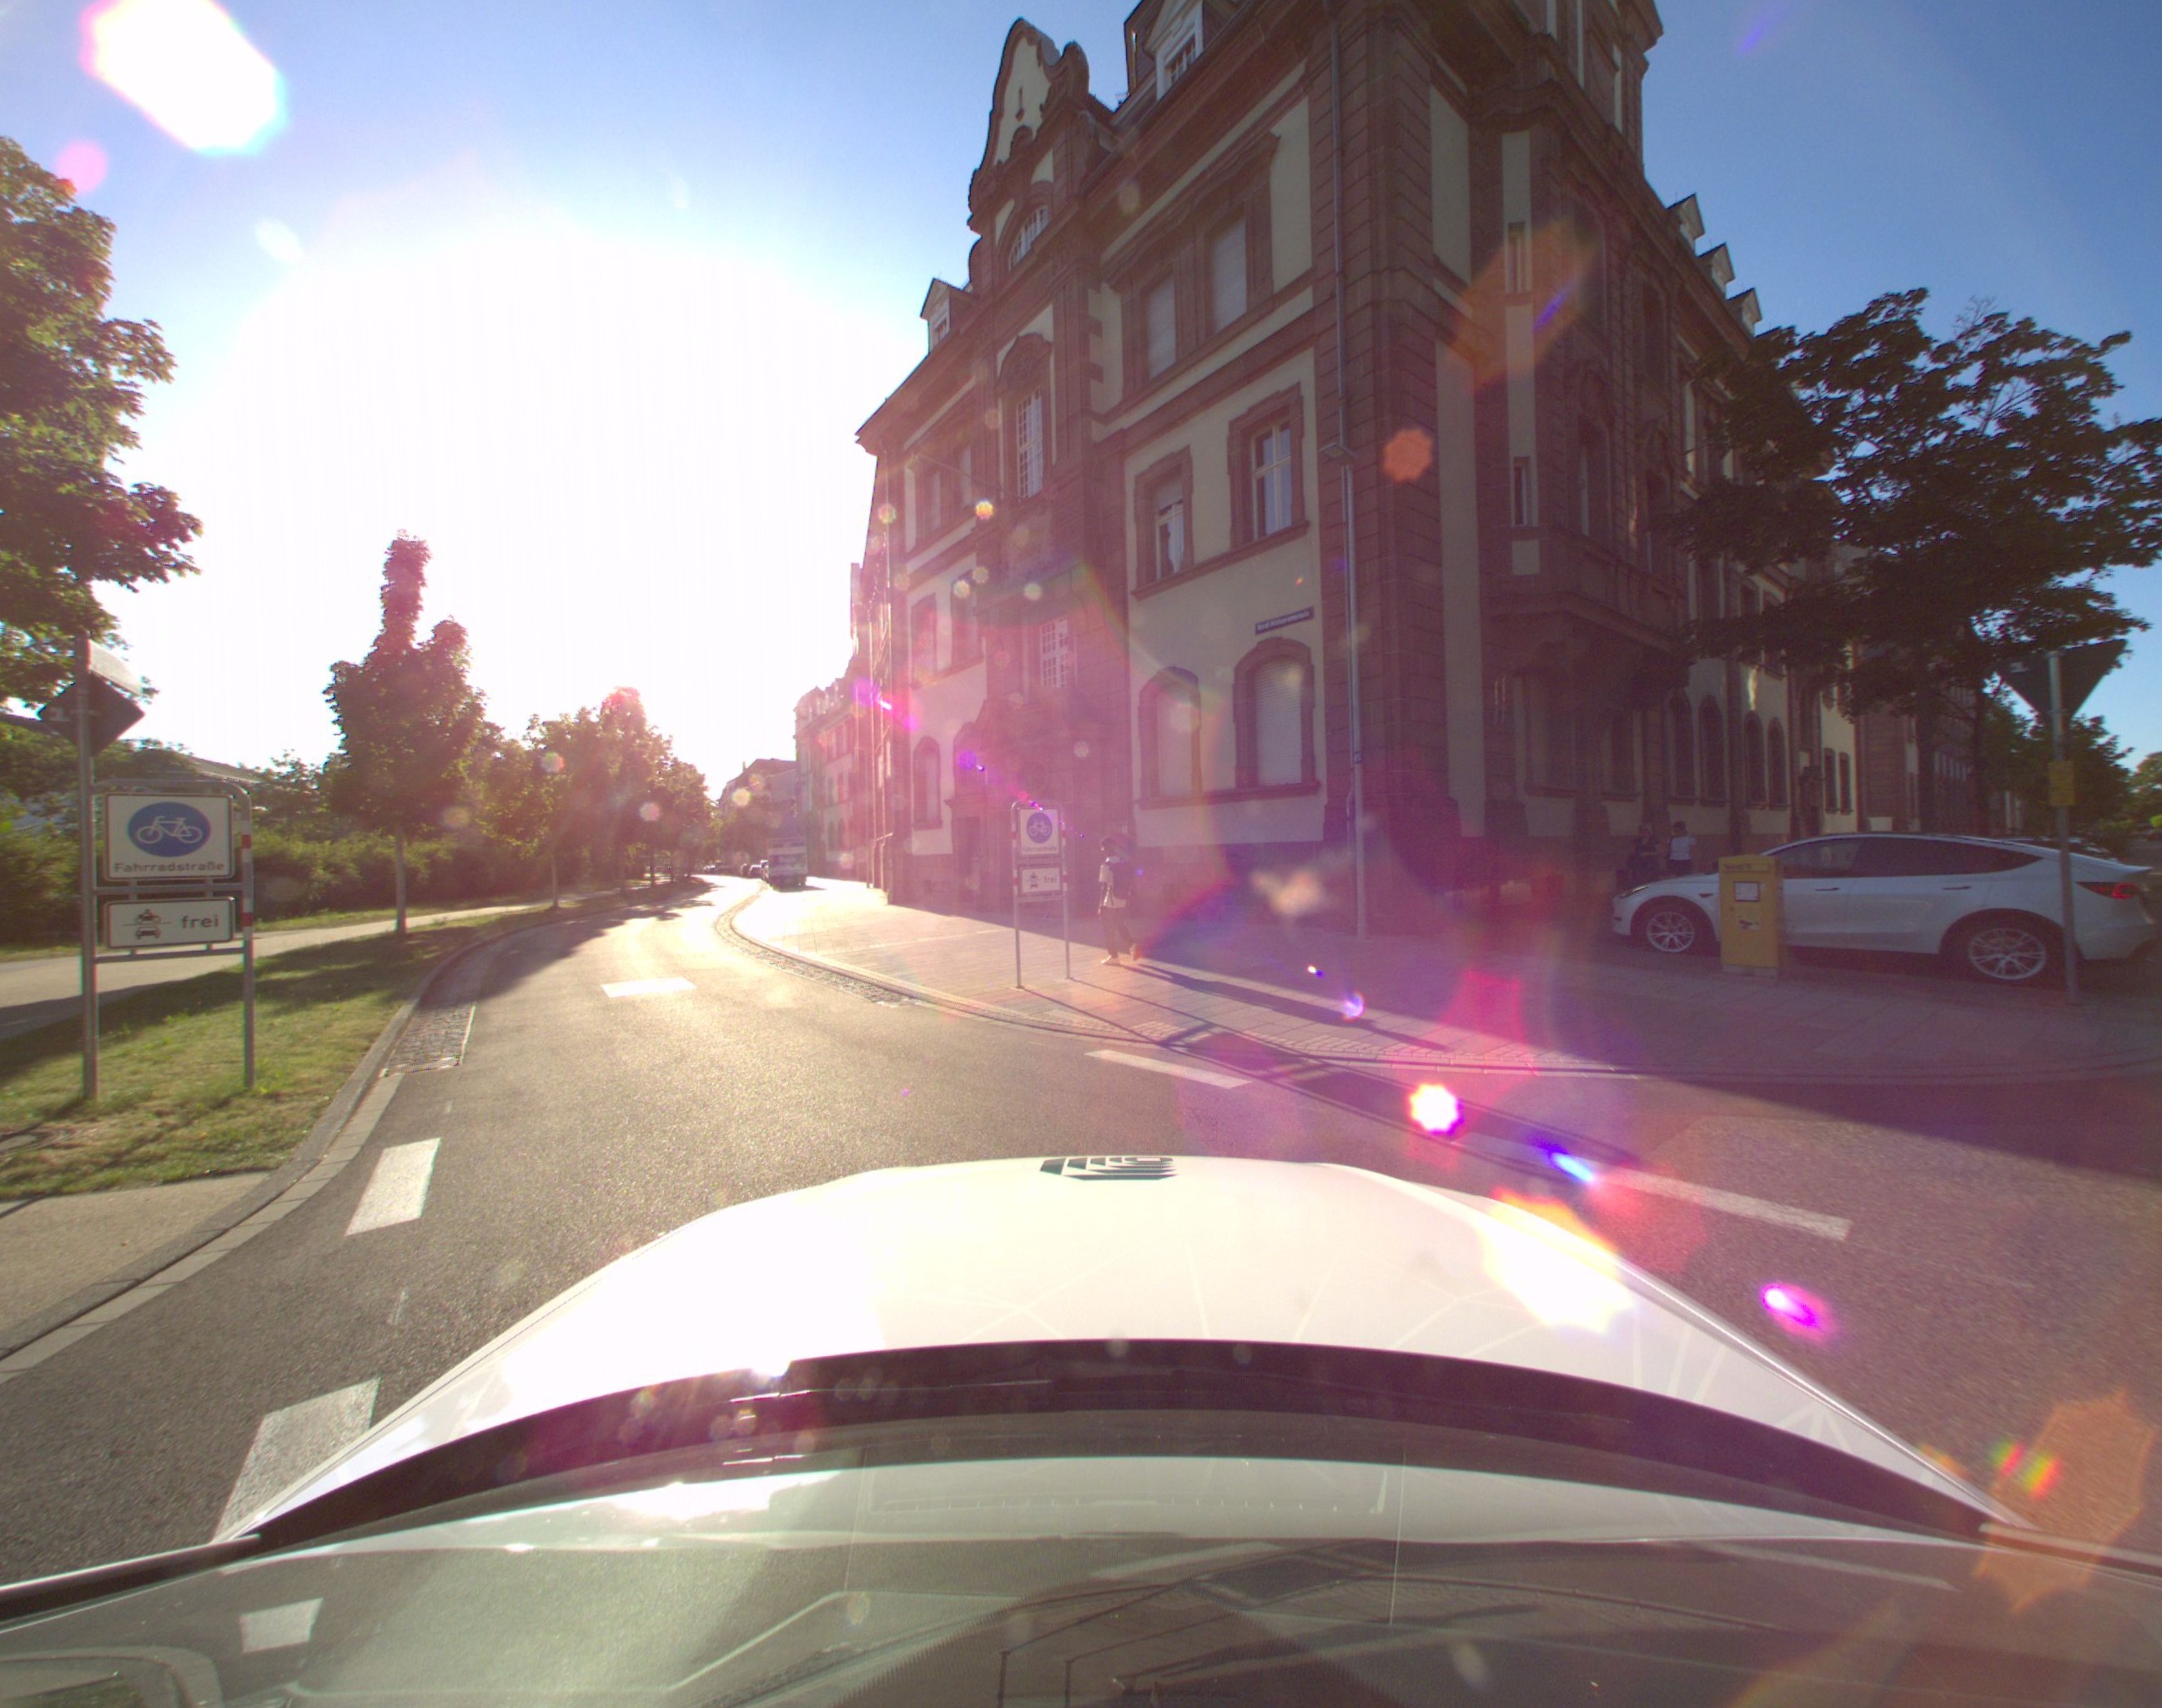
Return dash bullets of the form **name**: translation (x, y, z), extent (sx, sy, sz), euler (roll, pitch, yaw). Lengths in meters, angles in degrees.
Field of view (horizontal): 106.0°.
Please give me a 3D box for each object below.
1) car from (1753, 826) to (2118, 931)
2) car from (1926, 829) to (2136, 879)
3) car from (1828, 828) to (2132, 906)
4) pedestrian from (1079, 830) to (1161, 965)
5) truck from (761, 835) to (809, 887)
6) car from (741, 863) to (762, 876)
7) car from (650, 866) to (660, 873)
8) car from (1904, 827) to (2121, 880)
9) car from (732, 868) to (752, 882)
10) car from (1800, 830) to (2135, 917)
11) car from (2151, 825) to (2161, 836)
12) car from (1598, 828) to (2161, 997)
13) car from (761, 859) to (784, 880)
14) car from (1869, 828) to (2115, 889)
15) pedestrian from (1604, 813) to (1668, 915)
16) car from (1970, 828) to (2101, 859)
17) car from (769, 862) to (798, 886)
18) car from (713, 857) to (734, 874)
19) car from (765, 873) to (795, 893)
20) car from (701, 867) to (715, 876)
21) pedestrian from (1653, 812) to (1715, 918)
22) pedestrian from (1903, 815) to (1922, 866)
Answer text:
- **car**: translation (15.096, 0.323, 14.679), extent (1.977, 1.585, 4.342), euler (-2, 2, -40)
- **car**: translation (30.712, -0.055, 26.525), extent (1.977, 1.496, 4.341), euler (-2, 2, -40)
- **car**: translation (19.562, 0.202, 17.975), extent (1.977, 1.496, 4.341), euler (-2, 2, -40)
- **pedestrian**: translation (0.521, 0.562, 11.059), extent (0.536, 1.718, 0.992), euler (-4, 1, -36)
- **truck**: translation (-19.202, 0.441, 52.599), extent (2.634, 3.121, 6.042), euler (-1, 0, -22)
- **car**: translation (-38.781, 1.788, 95.906), extent (1.758, 1.466, 4.435), euler (-1, 0, -29)
- **car**: translation (-106.612, 3.839, 203.774), extent (1.806, 1.724, 3.960), euler (-3, 1, -31)
- **car**: translation (28.816, -0.058, 25.383), extent (1.977, 1.496, 4.341), euler (-2, 2, -40)
- **car**: translation (-43.648, 2.642, 104.818), extent (1.735, 1.669, 4.075), euler (-3, 1, -29)
- **car**: translation (17.411, 0.293, 16.271), extent (1.977, 1.496, 4.341), euler (-2, 2, -40)
- **car**: translation (166.660, -3.642, 125.573), extent (3.693, 1.706, 1.729), euler (-2, 0, -41)
- **car**: translation (9.370, 0.473, 10.058), extent (1.977, 1.589, 4.667), euler (-2, 2, -40)
- **car**: translation (-32.549, 1.636, 85.803), extent (2.002, 1.966, 4.812), euler (-5, 1, -23)
- **car**: translation (24.722, 0.058, 22.301), extent (1.977, 1.496, 4.341), euler (-2, 2, -40)
- **pedestrian**: translation (10.305, 0.168, 15.138), extent (0.720, 1.840, 0.781), euler (-1, 1, -35)
- **car**: translation (49.403, -0.568, 42.232), extent (1.976, 1.496, 4.344), euler (-1, 2, -38)
- **car**: translation (-21.145, 1.421, 57.856), extent (1.775, 1.530, 4.539), euler (-3, 0, -21)
- **car**: translation (-57.374, 1.895, 130.562), extent (2.226, 2.529, 6.086), euler (-4, 1, -31)
- **car**: translation (-24.762, 2.375, 66.925), extent (1.881, 1.436, 4.485), euler (-3, 1, -24)
- **car**: translation (-63.876, 2.942, 139.451), extent (1.703, 1.440, 3.513), euler (-2, 0, -33)
- **pedestrian**: translation (10.730, 0.176, 14.496), extent (0.615, 1.840, 0.718), euler (-1, 2, -35)
- **pedestrian**: translation (33.482, -0.550, 32.803), extent (0.466, 2.013, 0.431), euler (-1, 0, -37)
